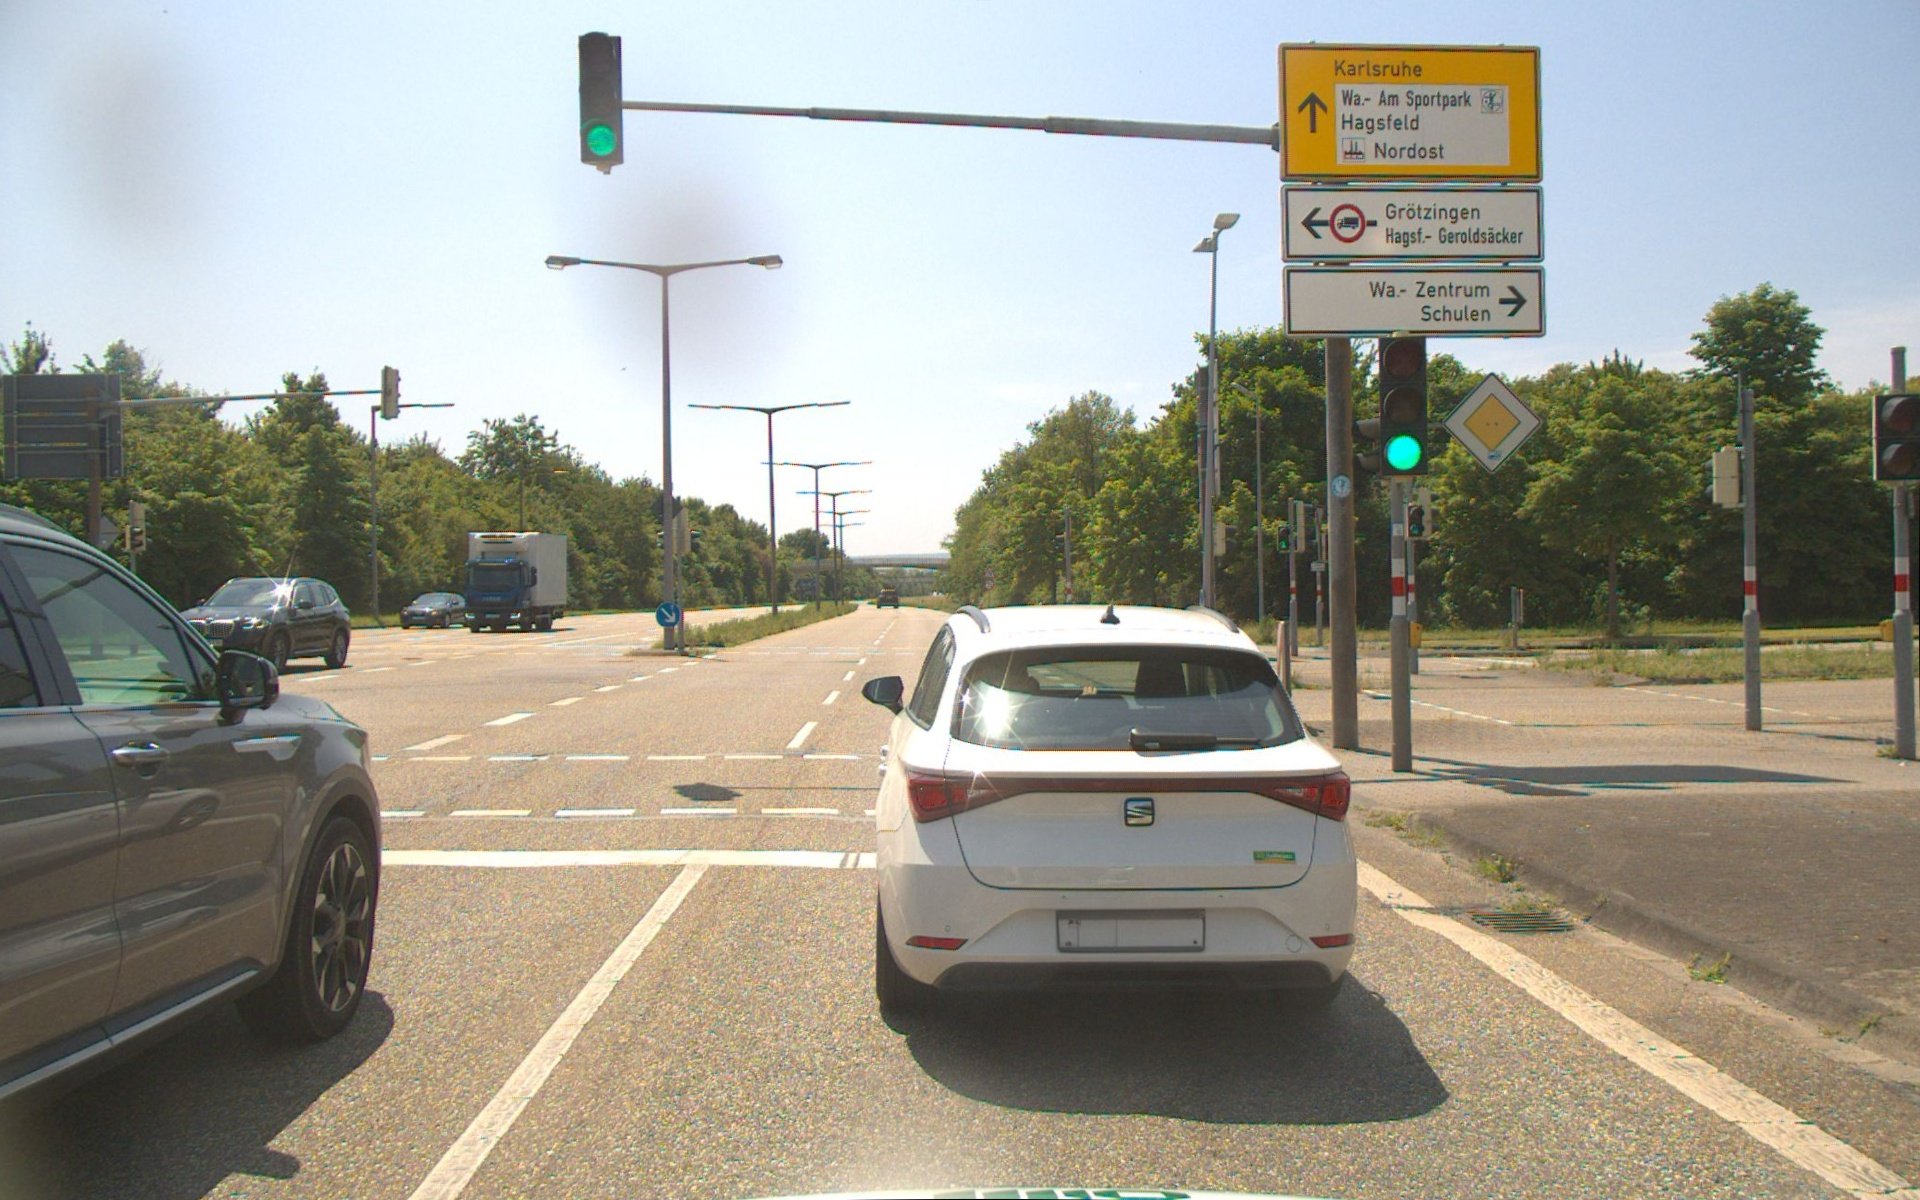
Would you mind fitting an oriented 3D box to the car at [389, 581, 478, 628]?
[{"bbox_3d":[-20.883,0.156,65.819,1.785,1.762,4.927,-1,0,2],"label":"car"}]

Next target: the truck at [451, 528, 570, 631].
[{"bbox_3d":[-16.805,-0.769,62.302,2.633,3.633,7.265,0,0,-2],"label":"truck"}]

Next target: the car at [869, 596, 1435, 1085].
[{"bbox_3d":[0.556,0.742,6.855,1.699,1.453,3.693,1,0,-1],"label":"car"}]

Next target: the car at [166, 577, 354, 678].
[{"bbox_3d":[-12.719,0.449,30.339,1.672,1.692,4.222,-1,0,-1],"label":"car"}]

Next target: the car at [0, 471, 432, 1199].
[{"bbox_3d":[-2.861,0.588,3.957,1.767,1.691,4.643,-1,0,-1],"label":"car"}]

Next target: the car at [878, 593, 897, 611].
[{"bbox_3d":[-7.202,0.209,164.070,1.817,1.738,3.998,-1,0,-2],"label":"car"}]
